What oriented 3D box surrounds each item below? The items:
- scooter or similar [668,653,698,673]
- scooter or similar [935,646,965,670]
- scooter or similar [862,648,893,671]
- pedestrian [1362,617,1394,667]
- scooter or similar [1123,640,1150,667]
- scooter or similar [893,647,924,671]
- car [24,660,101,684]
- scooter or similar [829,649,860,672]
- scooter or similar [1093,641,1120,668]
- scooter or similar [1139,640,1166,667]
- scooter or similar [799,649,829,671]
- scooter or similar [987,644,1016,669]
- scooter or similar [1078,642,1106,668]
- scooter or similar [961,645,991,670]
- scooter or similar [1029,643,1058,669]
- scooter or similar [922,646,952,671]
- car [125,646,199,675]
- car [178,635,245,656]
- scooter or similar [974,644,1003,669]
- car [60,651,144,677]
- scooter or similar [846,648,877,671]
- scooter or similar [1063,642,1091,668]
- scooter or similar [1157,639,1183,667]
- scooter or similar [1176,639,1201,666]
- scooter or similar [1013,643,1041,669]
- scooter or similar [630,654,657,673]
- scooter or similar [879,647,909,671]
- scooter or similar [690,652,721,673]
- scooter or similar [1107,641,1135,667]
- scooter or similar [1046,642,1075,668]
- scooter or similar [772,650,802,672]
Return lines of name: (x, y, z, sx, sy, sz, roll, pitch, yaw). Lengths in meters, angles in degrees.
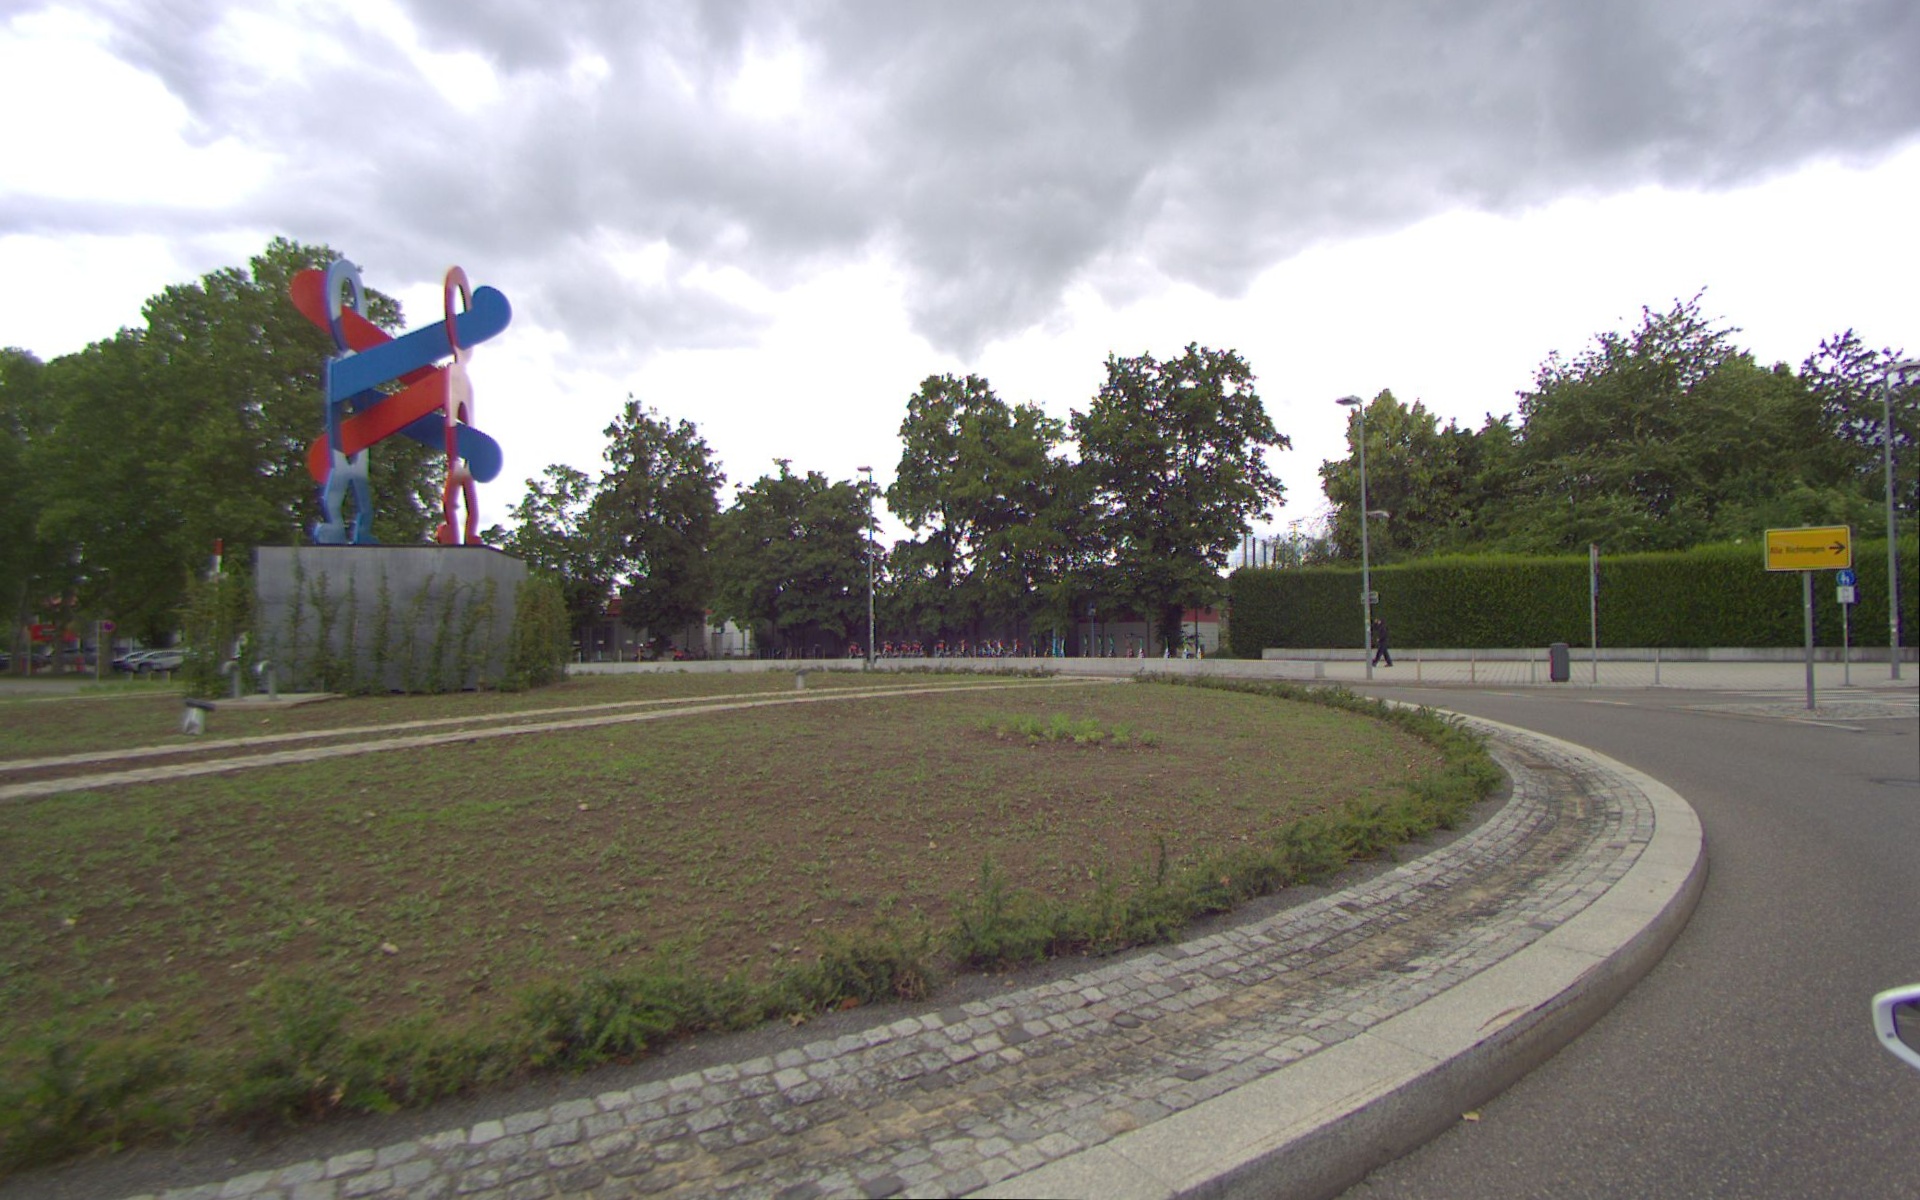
scooter or similar: (-16.884, 3.820, 61.242, 0.628, 1.124, 1.973, -3, -2, 26)
scooter or similar: (-0.493, 2.848, 49.697, 0.628, 1.124, 1.973, -3, -2, 26)
scooter or similar: (-4.234, 3.066, 51.810, 0.628, 1.124, 1.973, -3, -2, 26)
pedestrian: (15.508, 1.554, 37.276, 0.852, 1.831, 0.790, -3, -2, 37)
scooter or similar: (7.998, 2.407, 45.359, 0.628, 1.124, 1.973, -3, -2, 26)
scooter or similar: (-2.596, 2.975, 50.850, 0.628, 1.124, 1.973, -3, -2, 26)
car: (-66.710, 5.329, 74.707, 1.842, 1.538, 3.993, -3, -2, 36)
scooter or similar: (-6.111, 3.173, 53.068, 0.628, 1.124, 1.973, -3, -2, 26)
scooter or similar: (6.713, 2.479, 46.003, 0.628, 1.124, 1.973, -3, -2, 26)
scooter or similar: (8.655, 2.382, 45.062, 0.628, 1.124, 1.973, -3, -2, 26)
scooter or similar: (-8.071, 3.321, 55.502, 0.628, 1.124, 1.973, -3, -2, 26)
scooter or similar: (2.025, 2.726, 48.415, 0.628, 1.124, 1.973, -3, -2, 26)
scooter or similar: (6.085, 2.507, 46.304, 0.628, 1.124, 1.973, -3, -2, 26)
scooter or similar: (0.778, 2.791, 49.039, 0.628, 1.124, 1.973, -3, -2, 26)
scooter or similar: (3.959, 2.634, 47.426, 0.628, 1.124, 1.973, -3, -2, 26)
scooter or similar: (-1.131, 2.895, 49.999, 0.628, 1.124, 1.973, -3, -2, 26)
car: (-54.661, 4.116, 68.857, 1.644, 1.801, 3.698, -3, -2, 36)
car: (-66.210, 3.993, 88.881, 1.764, 1.673, 4.432, -3, -2, 26)
scooter or similar: (1.403, 2.752, 48.728, 0.628, 1.124, 1.973, -3, -2, 26)
car: (-58.088, 4.329, 68.061, 1.842, 1.538, 3.993, -3, -2, 36)
scooter or similar: (-5.088, 3.097, 52.239, 0.628, 1.124, 1.973, -3, -2, 26)
scooter or similar: (5.426, 2.556, 46.673, 0.628, 1.124, 1.973, -3, -2, 26)
scooter or similar: (9.360, 2.348, 44.708, 0.628, 1.124, 1.973, -3, -2, 26)
scooter or similar: (10.094, 2.302, 44.326, 0.628, 1.124, 1.973, -3, -2, 26)
scooter or similar: (3.200, 2.660, 47.789, 0.628, 1.124, 1.973, -3, -2, 26)
scooter or similar: (-19.784, 3.969, 62.822, 0.535, 1.109, 1.808, -3, -2, 26)
scooter or similar: (-3.365, 3.003, 51.266, 0.628, 1.124, 1.973, -3, -2, 26)
scooter or similar: (-15.200, 3.728, 60.065, 0.628, 1.124, 1.973, -3, -2, 26)
scooter or similar: (7.332, 2.441, 45.702, 0.628, 1.124, 1.973, -3, -2, 26)
scooter or similar: (4.723, 2.580, 47.043, 0.628, 1.124, 1.973, -3, -2, 26)
scooter or similar: (-9.627, 3.380, 55.945, 0.628, 1.124, 1.973, -3, -2, 26)
